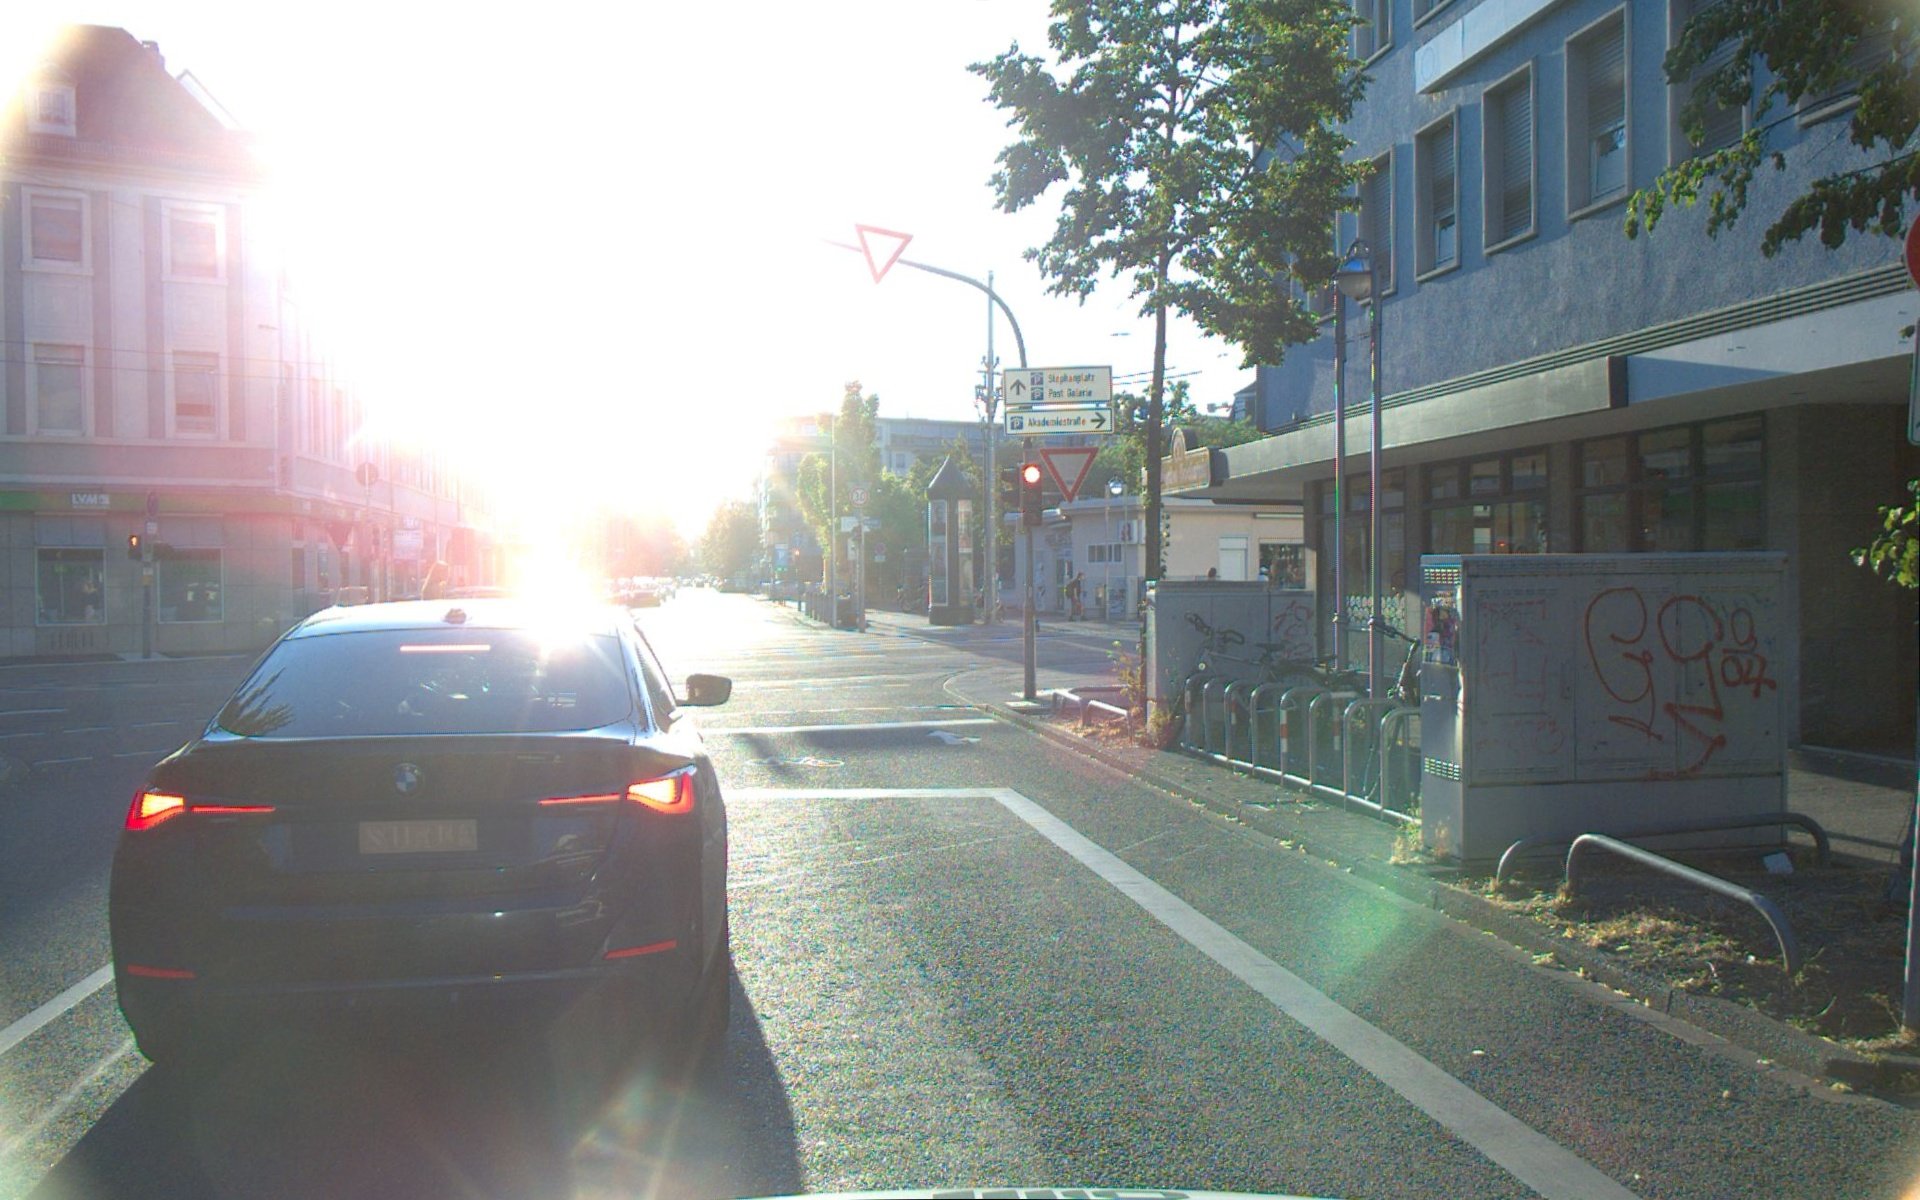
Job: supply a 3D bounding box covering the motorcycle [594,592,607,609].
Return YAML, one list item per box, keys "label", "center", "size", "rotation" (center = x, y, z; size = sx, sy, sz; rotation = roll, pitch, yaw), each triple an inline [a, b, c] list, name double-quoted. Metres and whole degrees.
- label: "motorcycle"
  center: [-20.402, 0.050, 93.827]
  size: [0.564, 0.931, 2.196]
  rotation: [1, 0, -8]

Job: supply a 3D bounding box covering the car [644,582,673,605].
- label: "car"
  center: [-20.535, -0.465, 112.709]
  size: [1.784, 1.545, 3.992]
  rotation: [-1, 1, -9]

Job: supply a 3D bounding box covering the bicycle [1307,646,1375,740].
- label: "bicycle"
  center: [3.548, 0.853, 15.448]
  size: [0.244, 0.810, 1.114]
  rotation: [1, 0, -7]

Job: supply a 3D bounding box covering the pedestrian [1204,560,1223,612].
- label: "pedestrian"
  center: [8.592, -0.471, 56.070]
  size: [0.438, 1.765, 0.429]
  rotation: [1, 0, -34]

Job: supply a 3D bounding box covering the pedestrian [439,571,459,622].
- label: "pedestrian"
  center: [-19.606, -0.133, 63.446]
  size: [0.631, 1.909, 0.631]
  rotation: [1, 0, -9]

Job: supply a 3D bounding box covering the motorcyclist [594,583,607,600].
- label: "motorcyclist"
  center: [-20.388, -0.491, 93.848]
  size: [0.564, 0.931, 2.196]
  rotation: [1, 0, -8]

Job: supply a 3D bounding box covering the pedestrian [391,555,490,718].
- label: "pedestrian"
  center: [-6.251, 0.420, 19.895]
  size: [0.990, 1.893, 0.634]
  rotation: [-2, 1, -29]

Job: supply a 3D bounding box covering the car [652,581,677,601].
- label: "car"
  center: [-23.665, -0.737, 132.480]
  size: [1.784, 1.545, 3.992]
  rotation: [-1, 1, -9]

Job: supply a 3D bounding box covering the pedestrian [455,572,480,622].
- label: "pedestrian"
  center: [-18.971, -0.124, 63.701]
  size: [0.662, 1.909, 0.618]
  rotation: [1, 0, 12]

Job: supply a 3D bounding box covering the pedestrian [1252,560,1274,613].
- label: "pedestrian"
  center: [10.164, -0.439, 55.437]
  size: [0.474, 1.765, 0.525]
  rotation: [1, 0, -34]

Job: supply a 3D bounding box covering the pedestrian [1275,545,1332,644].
- label: "pedestrian"
  center: [6.645, -0.108, 31.999]
  size: [0.670, 1.874, 0.829]
  rotation: [-1, 1, -31]

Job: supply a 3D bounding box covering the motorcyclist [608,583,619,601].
- label: "motorcyclist"
  center: [-19.559, -0.473, 93.349]
  size: [0.564, 1.013, 0.701]
  rotation: [1, 0, -9]

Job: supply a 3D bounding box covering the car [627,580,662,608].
- label: "car"
  center: [-17.942, -0.356, 94.244]
  size: [1.784, 1.545, 3.992]
  rotation: [-1, 1, -9]

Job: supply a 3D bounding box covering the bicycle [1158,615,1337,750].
- label: "bicycle"
  center: [2.635, 0.747, 15.179]
  size: [1.582, 1.191, 0.318]
  rotation: [-1, 1, -7]

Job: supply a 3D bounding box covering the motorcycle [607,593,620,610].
- label: "motorcycle"
  center: [-19.586, 0.067, 93.449]
  size: [0.564, 0.931, 2.196]
  rotation: [1, 0, -8]

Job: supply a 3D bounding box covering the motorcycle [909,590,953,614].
- label: "motorcycle"
  center: [-1.187, 0.081, 67.852]
  size: [1.644, 0.955, 0.851]
  rotation: [-1, 1, -20]

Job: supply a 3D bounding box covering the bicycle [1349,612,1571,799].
- label: "bicycle"
  center: [3.422, 0.716, 11.333]
  size: [1.413, 1.241, 0.383]
  rotation: [1, 0, -8]

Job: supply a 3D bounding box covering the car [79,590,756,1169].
- label: "car"
  center: [-1.752, 0.704, 6.443]
  size: [1.705, 1.453, 4.214]
  rotation: [0, 1, -10]

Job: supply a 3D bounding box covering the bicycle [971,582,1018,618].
- label: "bicycle"
  center: [1.137, 0.002, 54.962]
  size: [0.544, 1.179, 2.123]
  rotation: [1, 0, -30]

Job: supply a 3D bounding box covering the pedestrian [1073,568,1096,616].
- label: "pedestrian"
  center: [4.053, -0.270, 53.994]
  size: [0.717, 1.555, 0.473]
  rotation: [1, 0, 3]

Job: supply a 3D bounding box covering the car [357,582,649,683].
- label: "car"
  center: [-7.552, 0.482, 27.496]
  size: [4.368, 1.499, 1.796]
  rotation: [-1, 1, -34]

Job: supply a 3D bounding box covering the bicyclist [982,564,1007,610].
- label: "bicyclist"
  center: [1.155, -0.436, 54.933]
  size: [0.544, 1.507, 0.715]
  rotation: [1, 0, -30]
